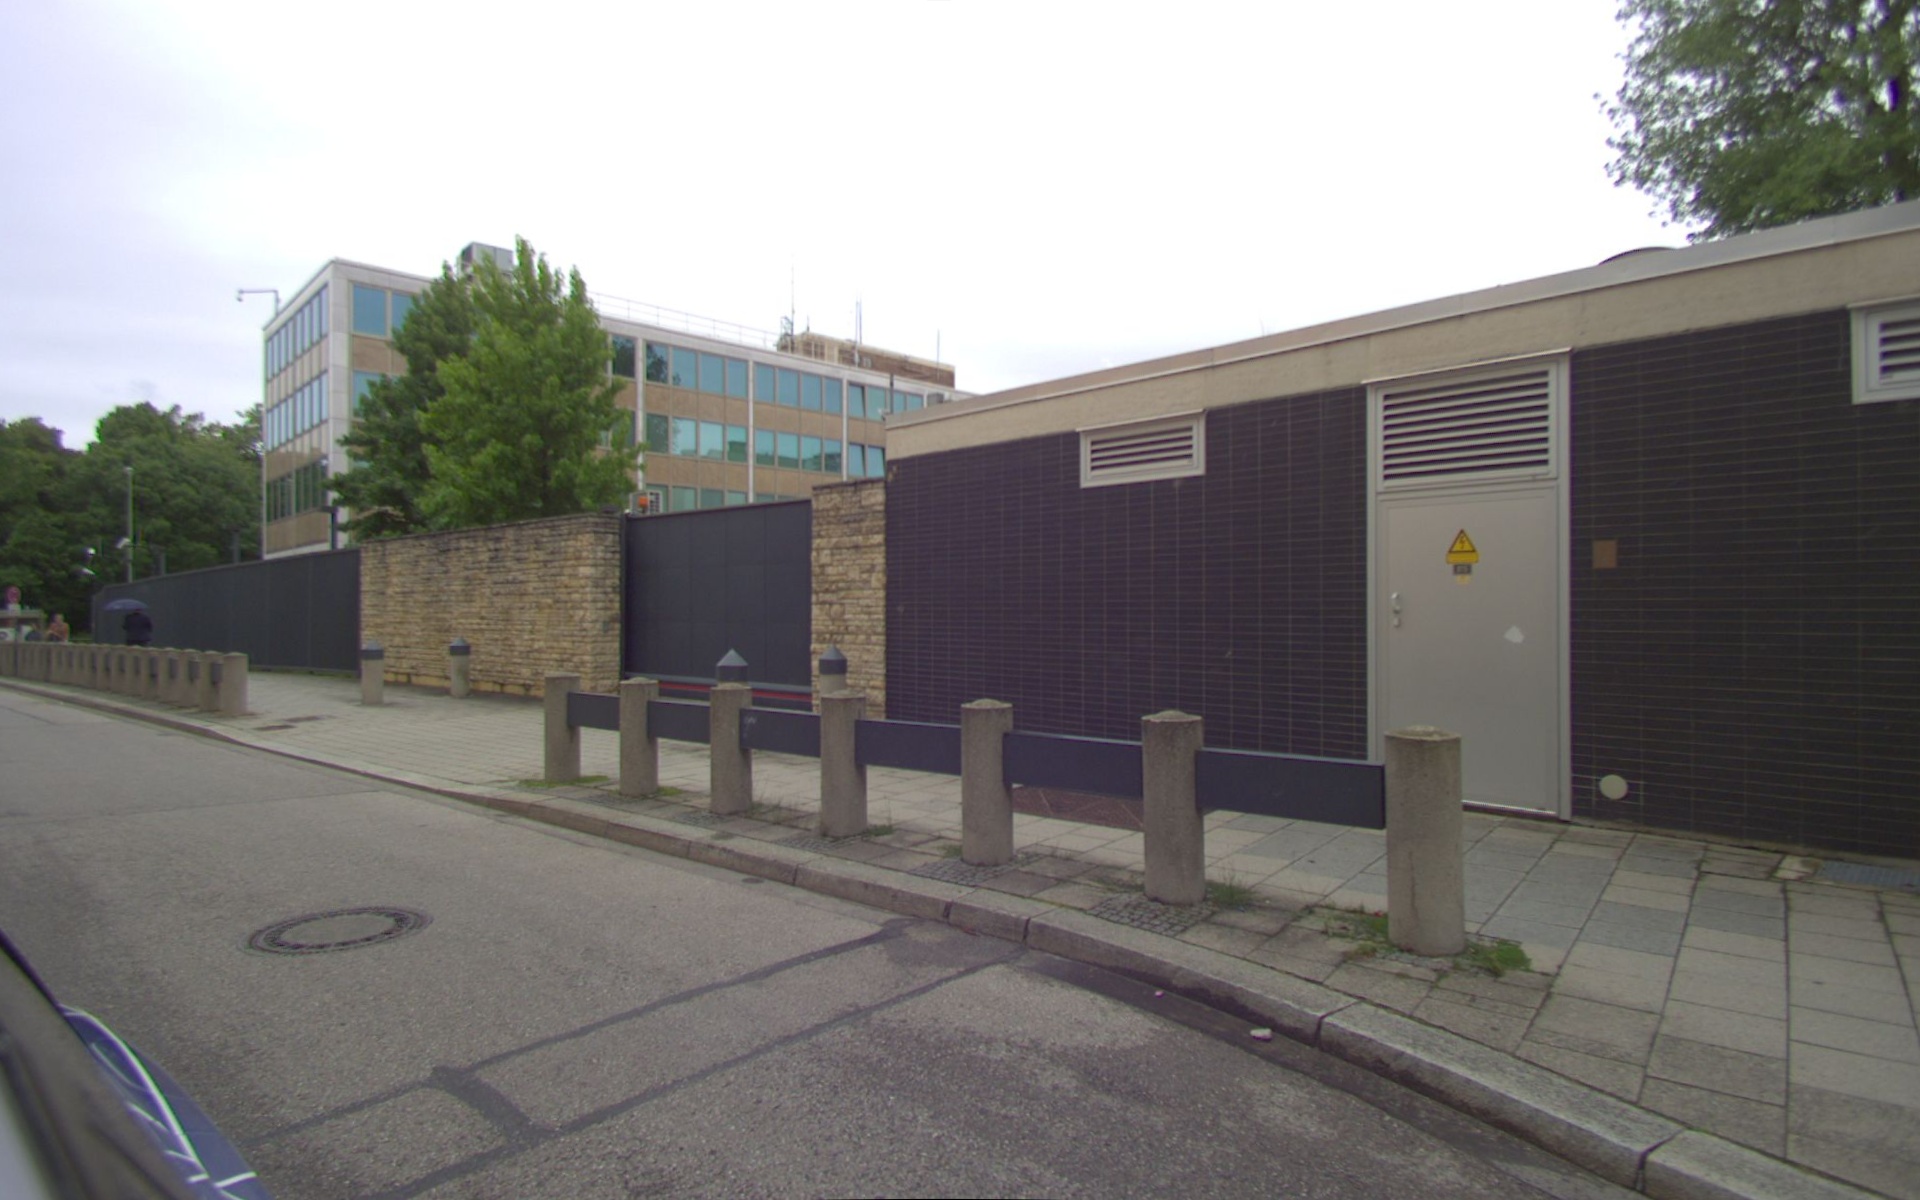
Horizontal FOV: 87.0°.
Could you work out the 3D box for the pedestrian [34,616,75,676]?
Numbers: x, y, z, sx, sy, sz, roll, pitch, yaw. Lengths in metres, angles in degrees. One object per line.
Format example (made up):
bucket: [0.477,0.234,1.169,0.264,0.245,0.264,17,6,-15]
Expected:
pedestrian: [-27.106,1.368,30.304,0.906,1.736,0.815,-2,0,45]

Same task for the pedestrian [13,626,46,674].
pedestrian: [-31.756,1.703,34.548,0.768,1.551,0.934,-3,0,-43]

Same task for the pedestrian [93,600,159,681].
pedestrian: [-22.366,1.075,27.139,1.116,2.120,1.210,-2,-2,42]
